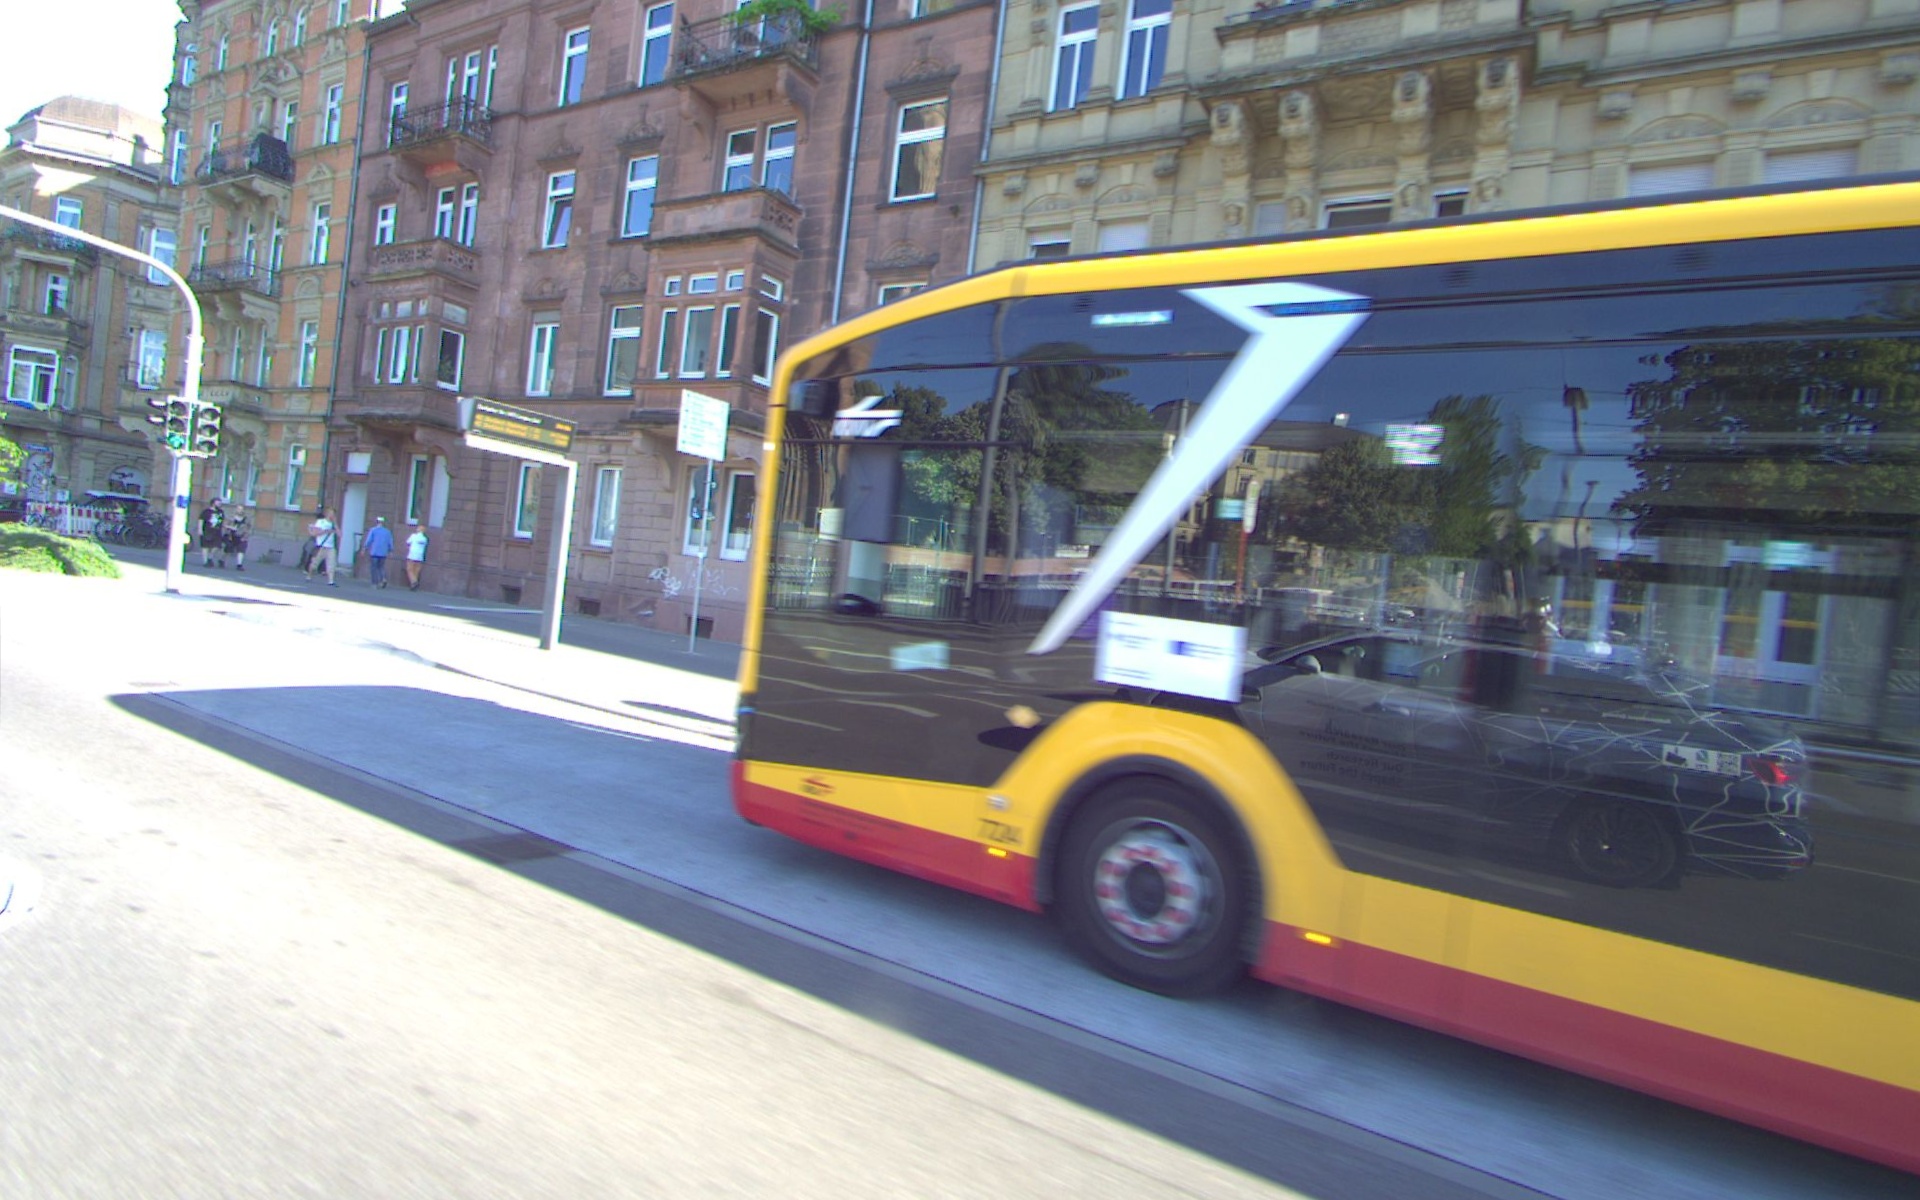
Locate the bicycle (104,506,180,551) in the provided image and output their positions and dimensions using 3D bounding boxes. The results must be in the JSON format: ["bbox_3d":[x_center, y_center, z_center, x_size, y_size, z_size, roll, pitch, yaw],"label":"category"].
[{"bbox_3d":[-26.394,-2.294,32.485,0.481,1.254,1.888,5,0,19],"label":"bicycle"}]

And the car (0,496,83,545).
[{"bbox_3d":[-34.878,-3.021,36.466,1.782,1.433,4.255,10,2,31],"label":"car"}]

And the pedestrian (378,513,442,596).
[{"bbox_3d":[-14.004,-1.145,25.627,1.118,1.954,0.823,7,1,31],"label":"pedestrian"}]

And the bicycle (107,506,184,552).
[{"bbox_3d":[-25.939,-2.258,32.067,0.481,1.254,1.888,5,0,19],"label":"bicycle"}]

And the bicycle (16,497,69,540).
[{"bbox_3d":[-29.953,-2.667,32.840,1.855,1.255,0.490,5,1,23],"label":"bicycle"}]

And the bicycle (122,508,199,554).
[{"bbox_3d":[-25.383,-2.168,31.972,0.481,1.254,1.888,5,0,19],"label":"bicycle"}]

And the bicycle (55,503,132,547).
[{"bbox_3d":[-28.522,-2.454,33.136,0.481,1.254,1.888,5,0,19],"label":"bicycle"}]

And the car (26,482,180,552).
[{"bbox_3d":[-36.810,-3.517,43.361,1.745,2.150,4.585,10,1,30],"label":"car"}]

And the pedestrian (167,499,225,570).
[{"bbox_3d":[-19.500,-1.668,25.676,1.118,1.676,0.703,7,1,31],"label":"pedestrian"}]

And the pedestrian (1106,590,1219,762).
[{"bbox_3d":[2.396,0.881,11.886,0.767,1.857,0.851,10,4,35],"label":"pedestrian"}]

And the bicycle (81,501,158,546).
[{"bbox_3d":[-27.396,-2.480,32.824,0.481,1.254,1.888,5,0,19],"label":"bicycle"}]

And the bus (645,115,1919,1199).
[{"bbox_3d":[4.267,0.351,3.609,12.333,3.222,2.717,7,1,32],"label":"bus"}]

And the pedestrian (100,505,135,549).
[{"bbox_3d":[-31.793,-2.745,37.970,0.692,1.554,0.659,6,1,-17],"label":"pedestrian"}]

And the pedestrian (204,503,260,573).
[{"bbox_3d":[-19.059,-1.621,26.343,1.118,1.676,0.703,7,1,31],"label":"pedestrian"}]

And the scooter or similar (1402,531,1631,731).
[{"bbox_3d":[3.912,0.201,7.168,1.271,1.265,0.432,6,2,22],"label":"scooter or similar"}]

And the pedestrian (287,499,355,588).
[{"bbox_3d":[-15.199,-1.329,23.925,1.118,1.954,0.823,7,1,31],"label":"pedestrian"}]

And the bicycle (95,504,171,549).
[{"bbox_3d":[-26.896,-2.382,32.761,0.481,1.254,1.888,5,0,19],"label":"bicycle"}]

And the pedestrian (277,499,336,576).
[{"bbox_3d":[-17.935,-1.706,27.607,1.118,1.954,0.823,7,1,31],"label":"pedestrian"}]

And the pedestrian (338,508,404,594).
[{"bbox_3d":[-14.515,-1.199,24.812,1.118,1.954,0.823,7,1,31],"label":"pedestrian"}]

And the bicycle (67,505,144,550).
[{"bbox_3d":[-27.964,-2.361,32.958,0.481,1.254,1.888,5,0,19],"label":"bicycle"}]
